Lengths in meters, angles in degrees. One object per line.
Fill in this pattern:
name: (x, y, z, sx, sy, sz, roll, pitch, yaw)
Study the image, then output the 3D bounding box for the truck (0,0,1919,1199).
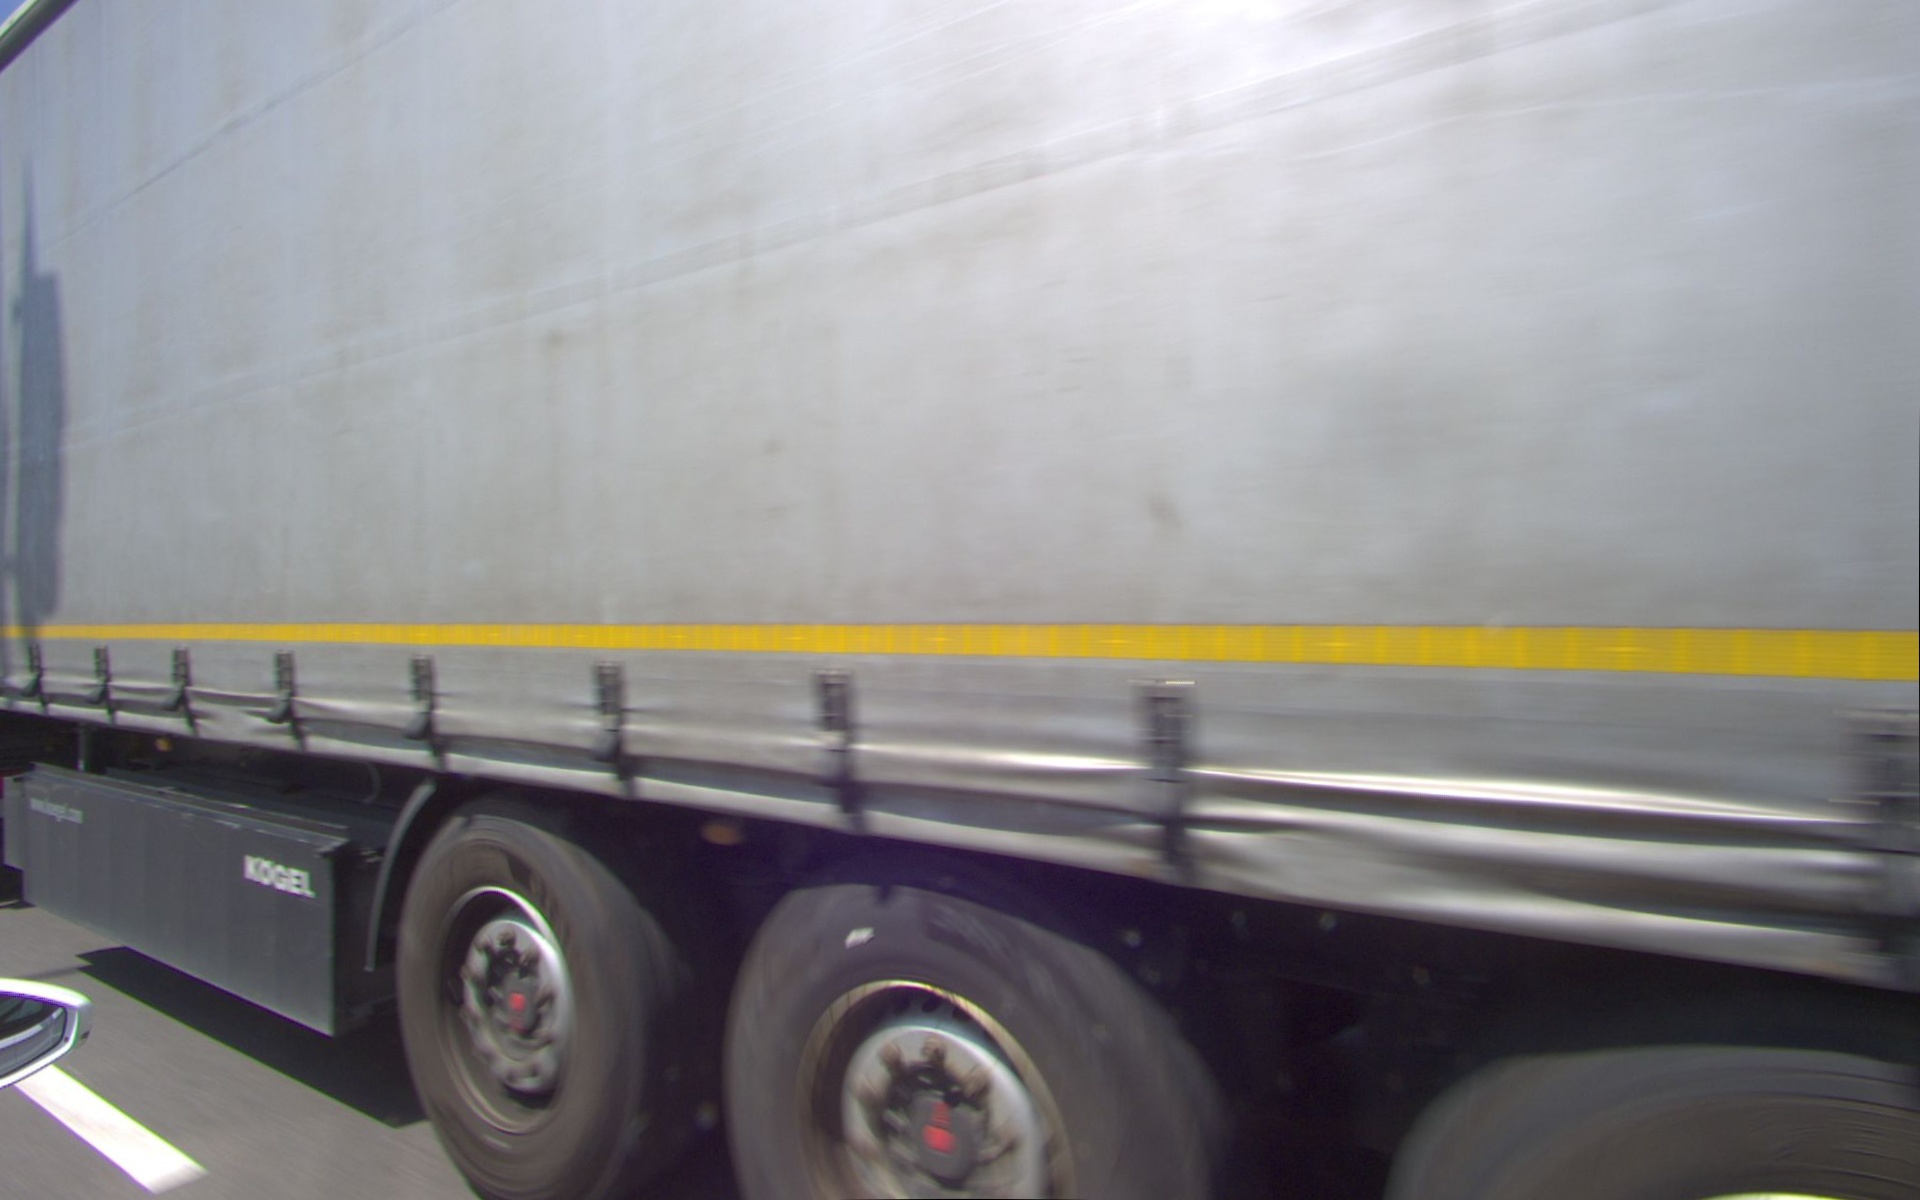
truck: (-0.855, -0.529, 3.599, 13.922, 4.064, 2.966, -1, 1, 33)

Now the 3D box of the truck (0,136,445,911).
truck: (-7.205, -0.378, 7.665, 6.237, 4.064, 2.966, -1, 1, 32)
